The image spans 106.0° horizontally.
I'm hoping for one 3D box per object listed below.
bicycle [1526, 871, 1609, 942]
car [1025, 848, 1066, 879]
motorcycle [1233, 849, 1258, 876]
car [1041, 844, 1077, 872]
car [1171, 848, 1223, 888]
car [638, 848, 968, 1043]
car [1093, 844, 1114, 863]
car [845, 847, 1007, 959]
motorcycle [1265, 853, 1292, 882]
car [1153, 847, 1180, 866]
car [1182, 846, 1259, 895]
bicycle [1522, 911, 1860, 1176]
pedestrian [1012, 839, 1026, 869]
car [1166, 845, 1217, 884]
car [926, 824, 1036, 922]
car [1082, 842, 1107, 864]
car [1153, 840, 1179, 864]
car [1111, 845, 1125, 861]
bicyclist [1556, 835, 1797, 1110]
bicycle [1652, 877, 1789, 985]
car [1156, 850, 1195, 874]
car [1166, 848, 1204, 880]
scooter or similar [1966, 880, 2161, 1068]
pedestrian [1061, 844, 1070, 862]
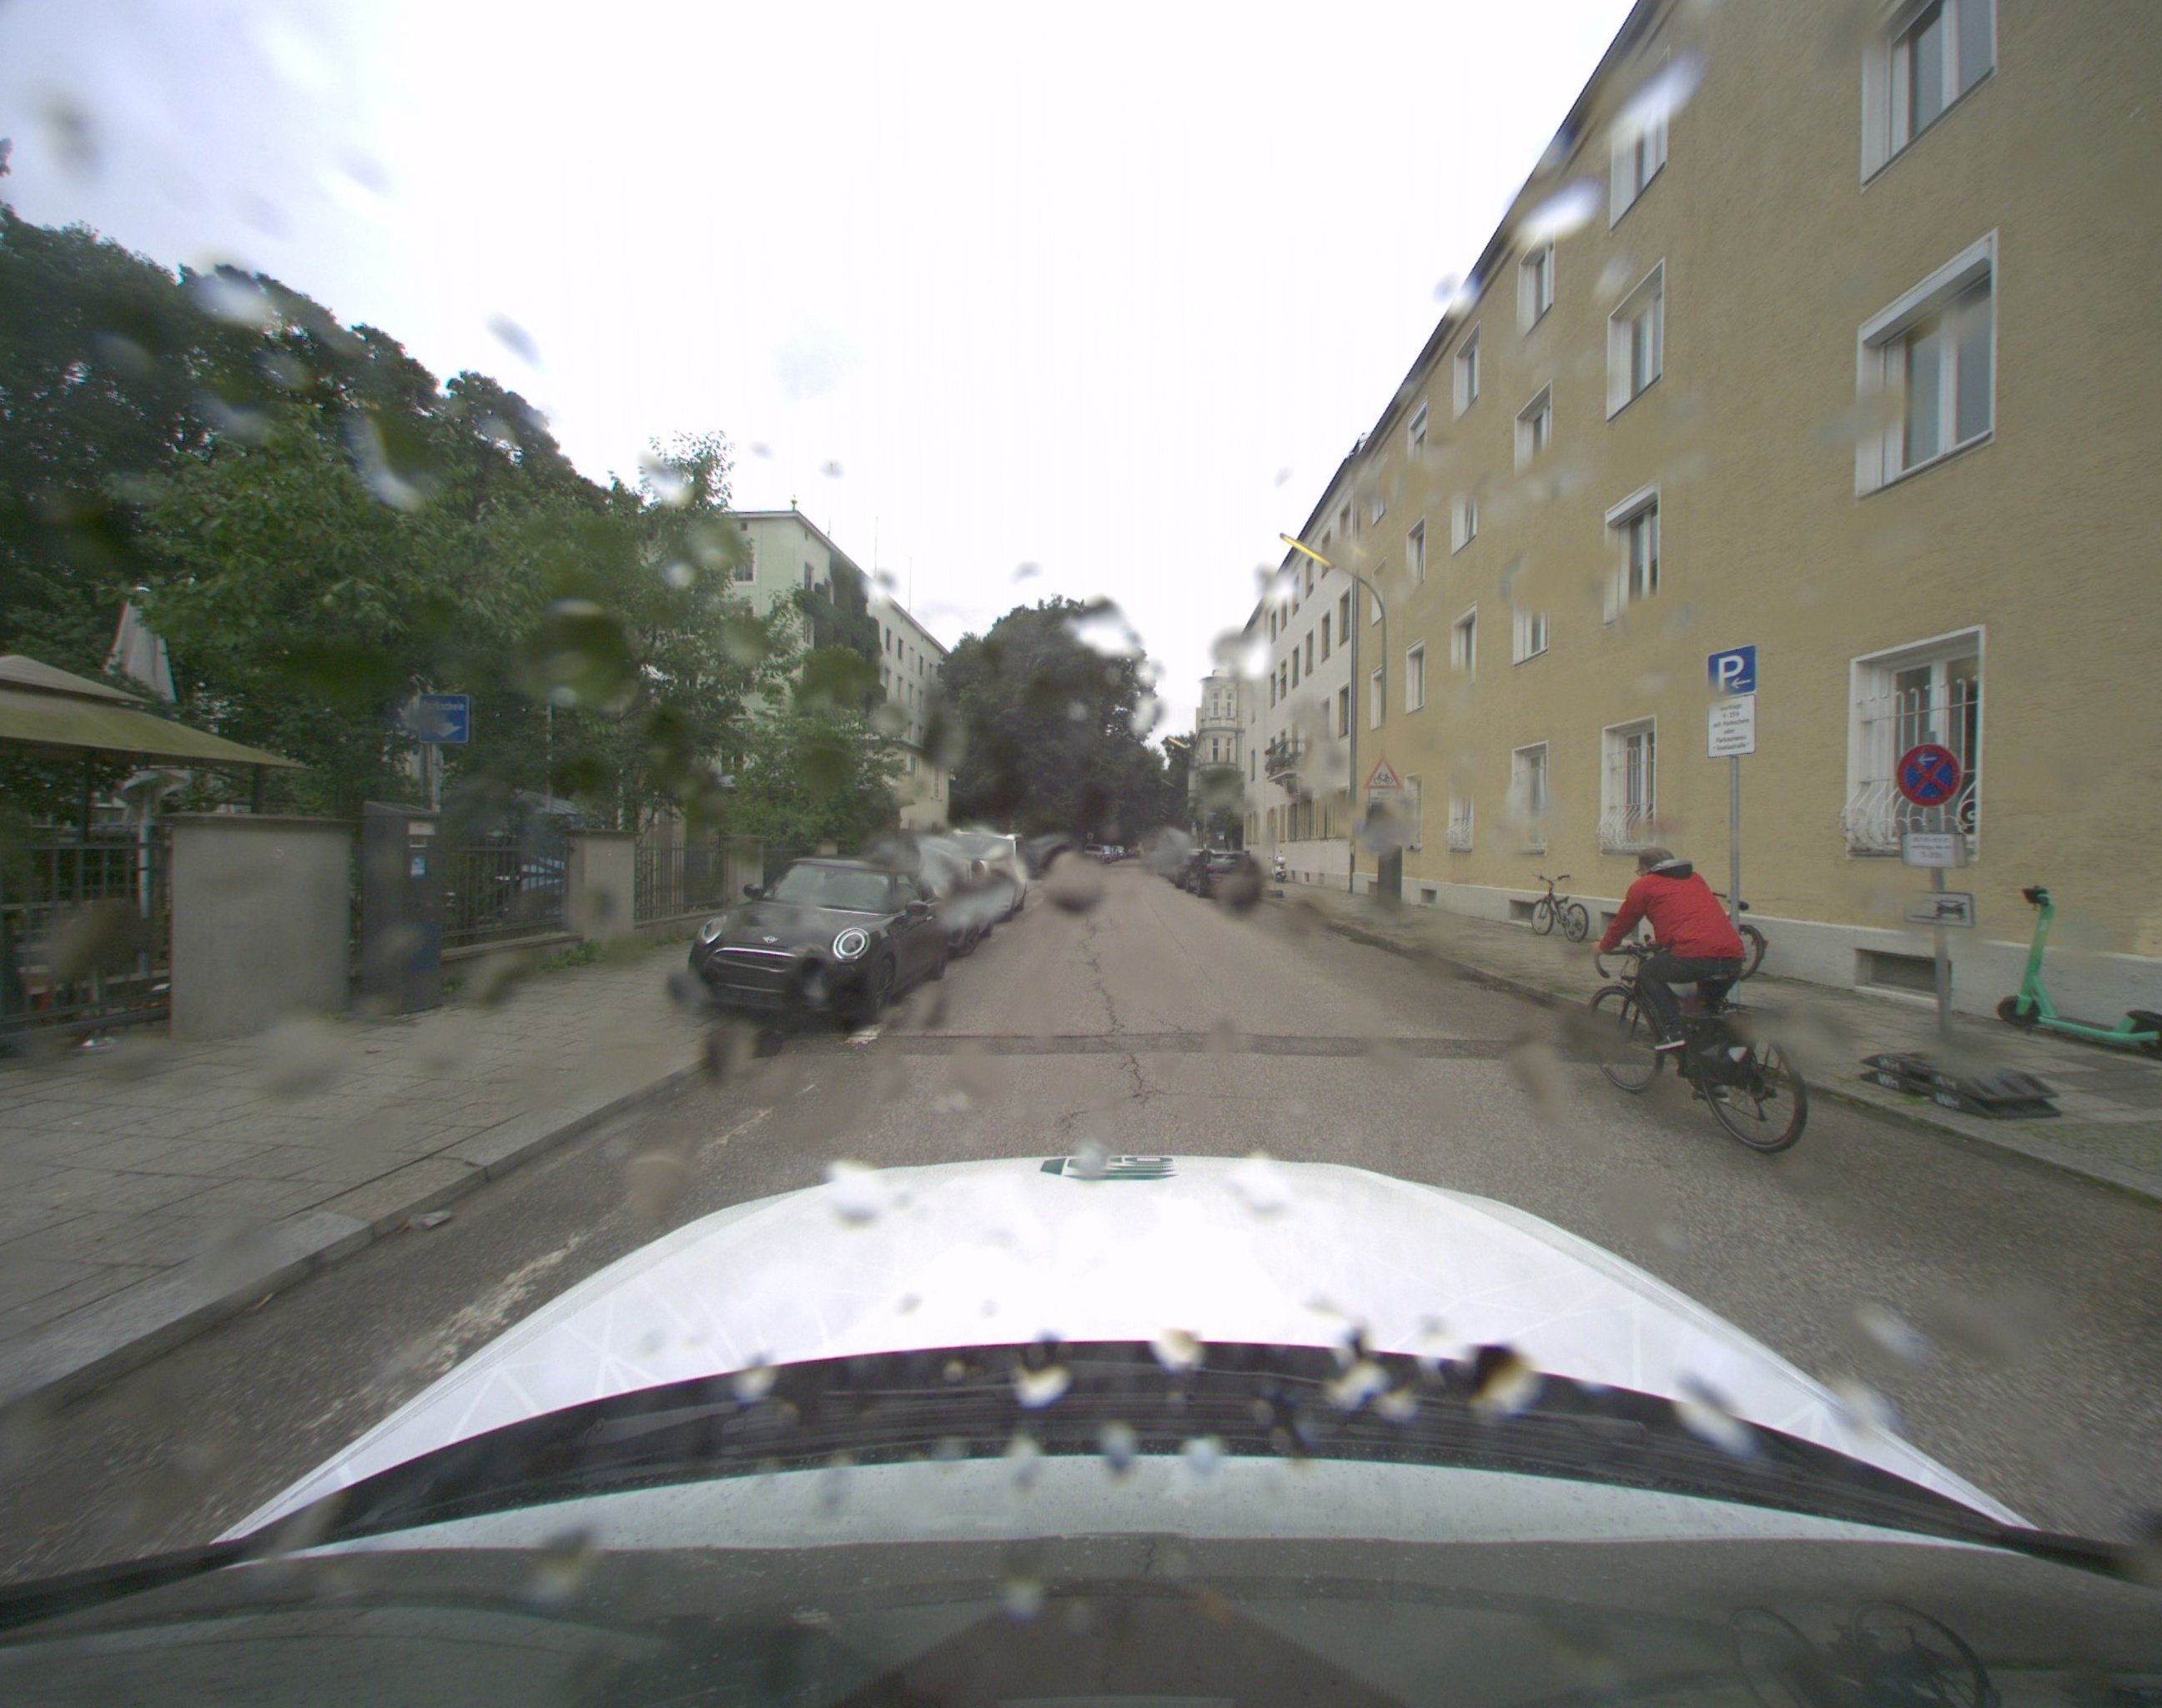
[{"bbox_3d":[8.242,0.855,13.884,0.341,1.082,1.814,-2,0,1],"label":"bicycle"},{"bbox_3d":[-1.691,0.441,40.495,1.801,1.402,4.923,2,0,0],"label":"car"},{"bbox_3d":[9.069,0.429,45.078,0.854,1.433,2.707,1,0,1],"label":"motorcycle"},{"bbox_3d":[-1.299,0.243,50.229,1.880,1.590,4.530,2,0,2],"label":"car"},{"bbox_3d":[4.804,0.531,34.150,1.830,1.531,4.420,0,0,3],"label":"car"},{"bbox_3d":[-2.533,0.729,8.650,1.851,1.544,4.191,-1,0,3],"label":"car"},{"bbox_3d":[2.550,-0.064,90.005,2.175,1.956,5.169,2,0,2],"label":"car"},{"bbox_3d":[-2.382,0.666,13.740,1.882,1.543,4.694,1,0,-1],"label":"car"},{"bbox_3d":[8.785,0.573,36.287,0.729,1.239,2.008,2,0,1],"label":"motorcycle"},{"bbox_3d":[7.464,0.228,71.031,2.260,1.546,4.596,-1,0,7],"label":"car"},{"bbox_3d":[4.814,0.525,28.707,1.854,1.577,4.899,0,0,0],"label":"car"},{"bbox_3d":[3.562,1.005,5.039,0.669,1.141,2.013,2,0,4],"label":"bicycle"},{"bbox_3d":[-3.917,-0.007,51.641,0.709,1.852,0.797,2,0,3],"label":"pedestrian"},{"bbox_3d":[5.279,0.449,39.444,1.985,1.707,4.537,3,1,3],"label":"car"},{"bbox_3d":[-2.251,0.387,19.714,1.960,1.990,5.150,2,0,0],"label":"car"},{"bbox_3d":[1.332,-0.069,78.326,2.239,1.956,5.456,2,0,2],"label":"car"},{"bbox_3d":[8.087,-0.152,77.978,2.194,2.208,4.859,-1,0,3],"label":"car"},{"bbox_3d":[5.579,-0.174,122.922,1.993,2.186,4.701,2,0,4],"label":"car"},{"bbox_3d":[3.564,0.649,4.975,0.751,1.483,0.982,2,0,4],"label":"bicyclist"},{"bbox_3d":[7.806,0.891,10.031,0.341,1.135,1.760,0,0,1],"label":"bicycle"},{"bbox_3d":[5.621,0.472,48.944,1.992,1.319,4.598,-2,0,2],"label":"car"},{"bbox_3d":[5.575,0.508,44.062,1.763,1.546,3.716,5,1,4],"label":"car"},{"bbox_3d":[7.676,0.856,6.247,0.341,1.255,1.310,-1,0,1],"label":"scooter or similar"},{"bbox_3d":[-1.294,-0.077,69.421,0.711,1.548,0.752,2,0,-1],"label":"pedestrian"}]
